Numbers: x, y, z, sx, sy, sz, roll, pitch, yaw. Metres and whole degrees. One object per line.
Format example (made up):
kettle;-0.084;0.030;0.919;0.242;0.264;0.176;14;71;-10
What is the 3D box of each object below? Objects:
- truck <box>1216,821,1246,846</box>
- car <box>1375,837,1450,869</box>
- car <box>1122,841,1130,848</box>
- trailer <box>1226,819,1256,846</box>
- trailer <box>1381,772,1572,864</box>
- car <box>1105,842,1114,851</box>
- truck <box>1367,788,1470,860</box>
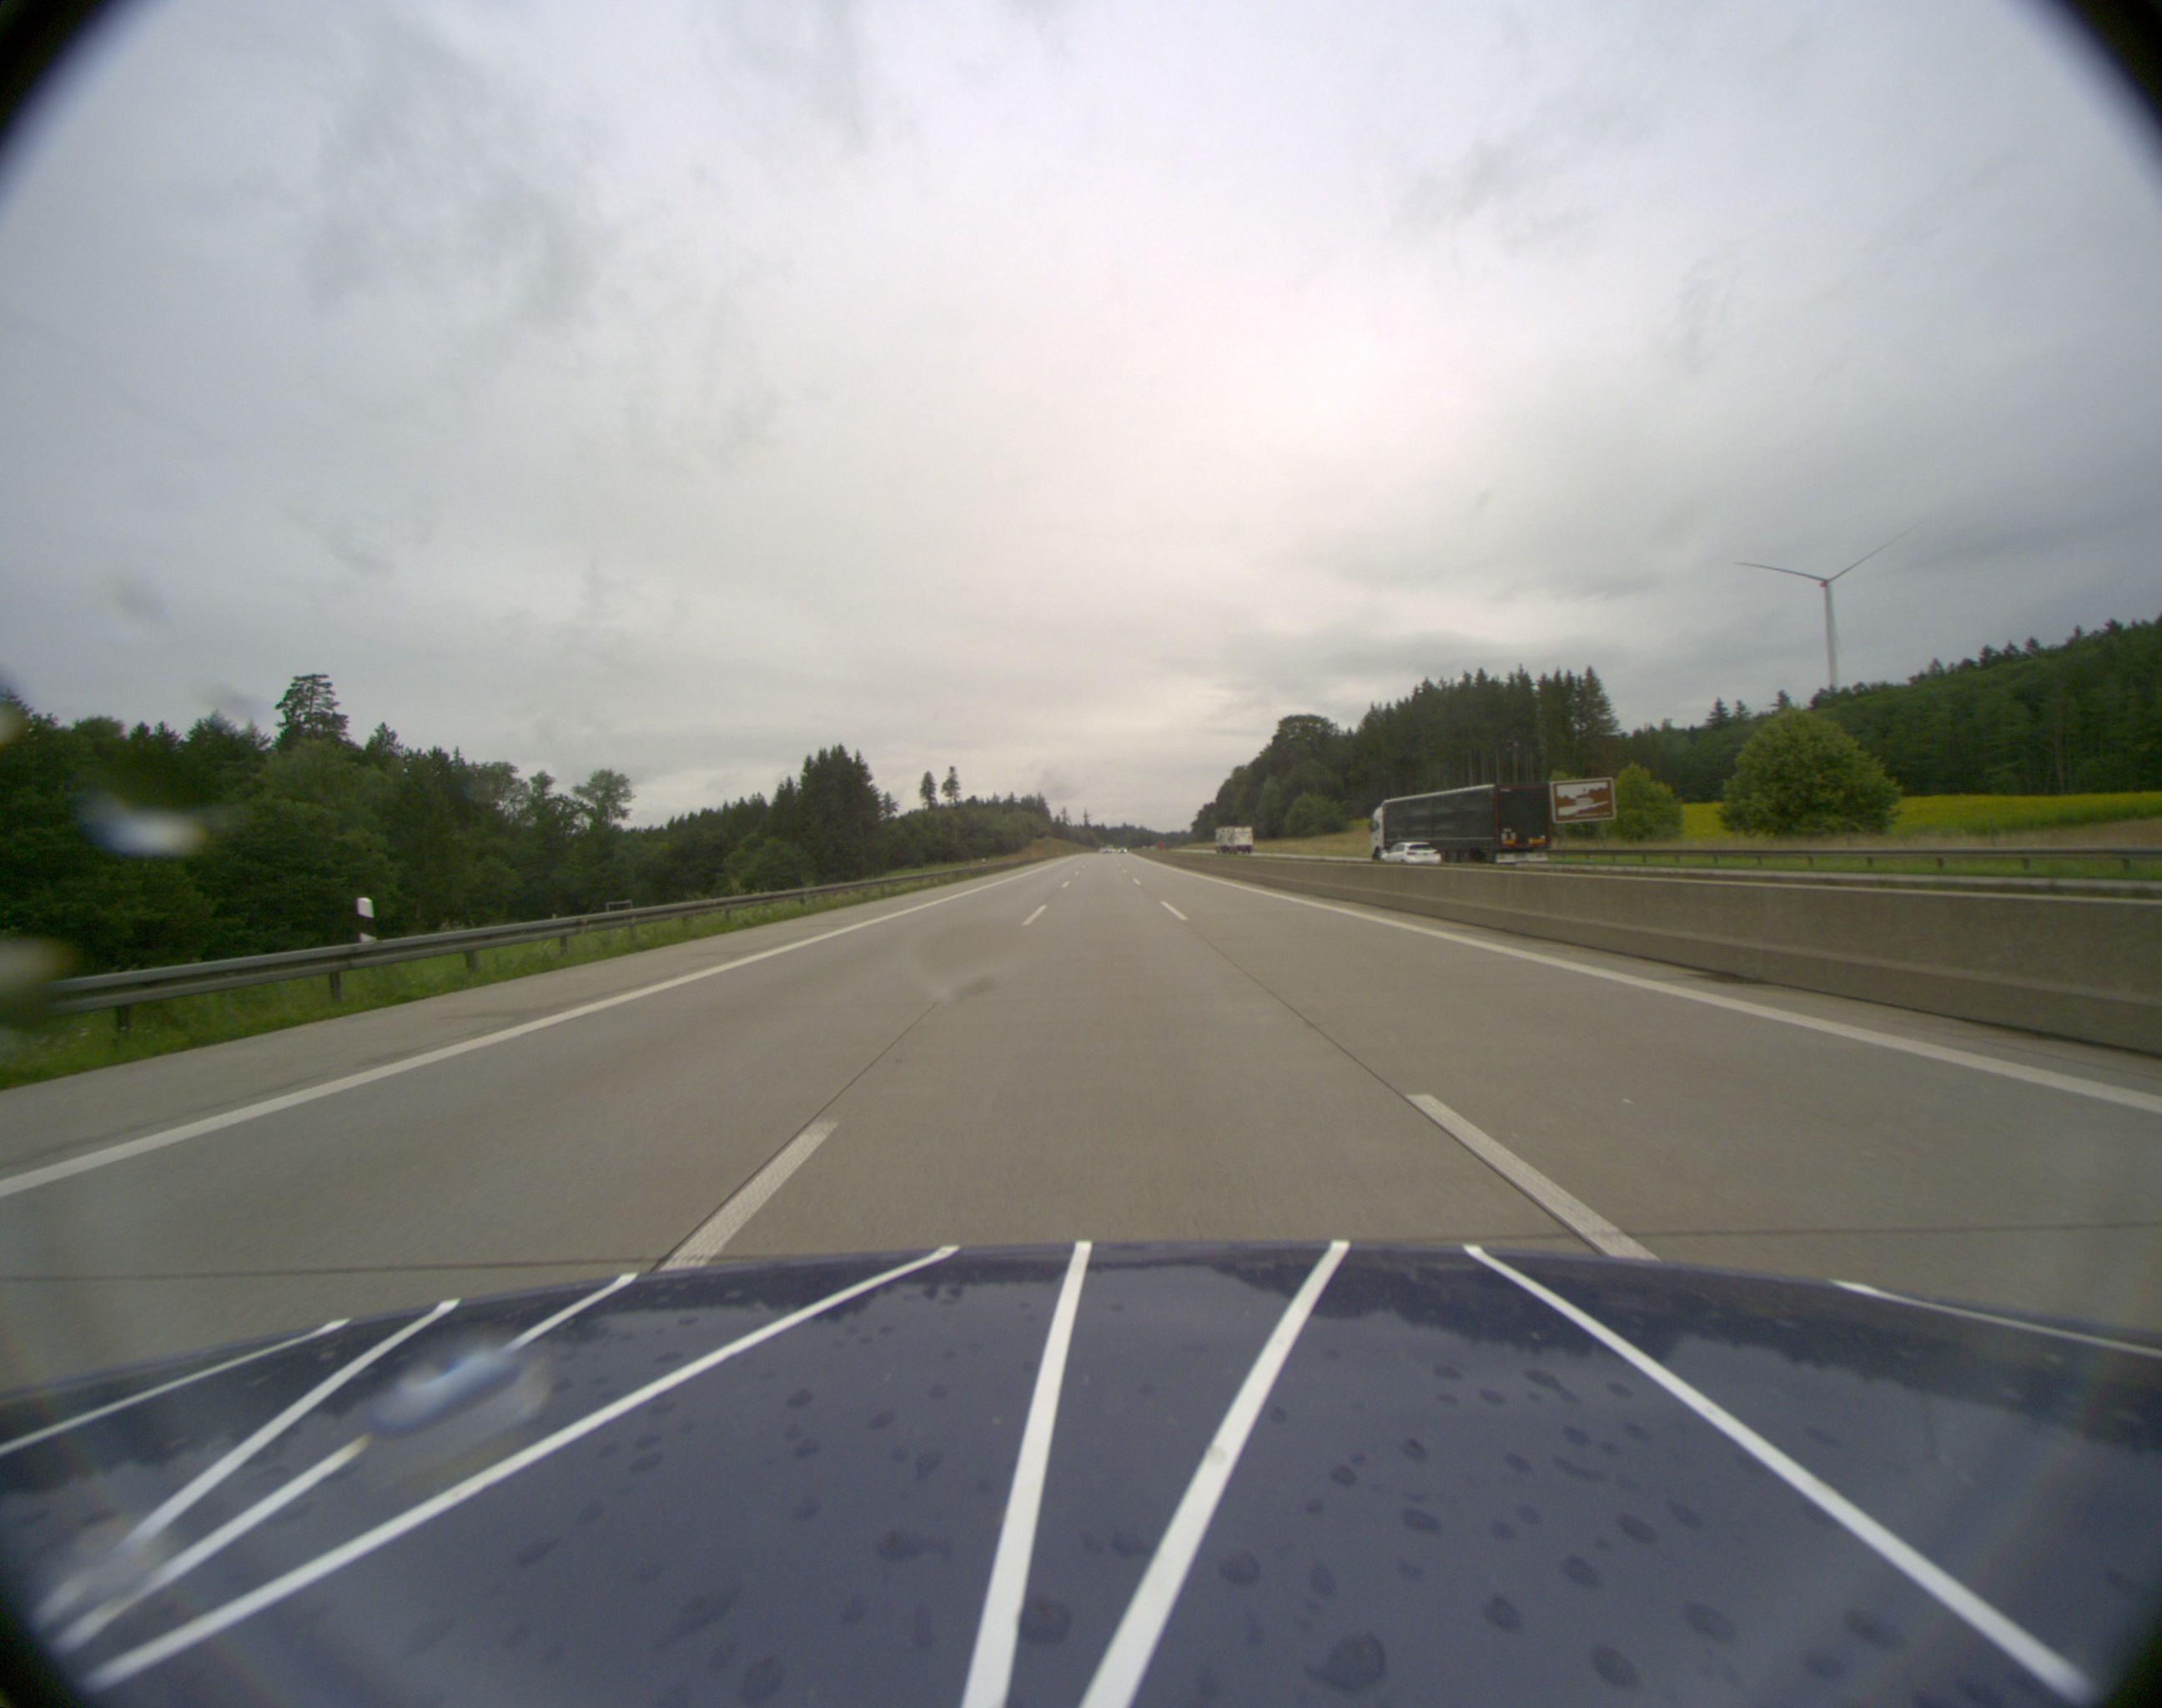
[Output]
truck;23.631;-3.196;120.123;2.819;3.751;11.350;-3;1;2
car;16.311;-0.033;37.632;1.788;1.459;4.372;-2;0;1
car;10.878;-2.297;184.275;1.766;1.455;4.001;-3;-1;2
trailer;23.237;-3.045;110.581;2.825;3.761;7.716;-3;1;2
trailer;20.766;-1.708;41.606;3.243;4.029;14.130;-3;1;1
car;7.371;-1.901;198.045;2.213;2.002;4.834;-3;0;0
truck;20.911;-1.758;47.655;3.220;4.034;7.165;-3;1;1
